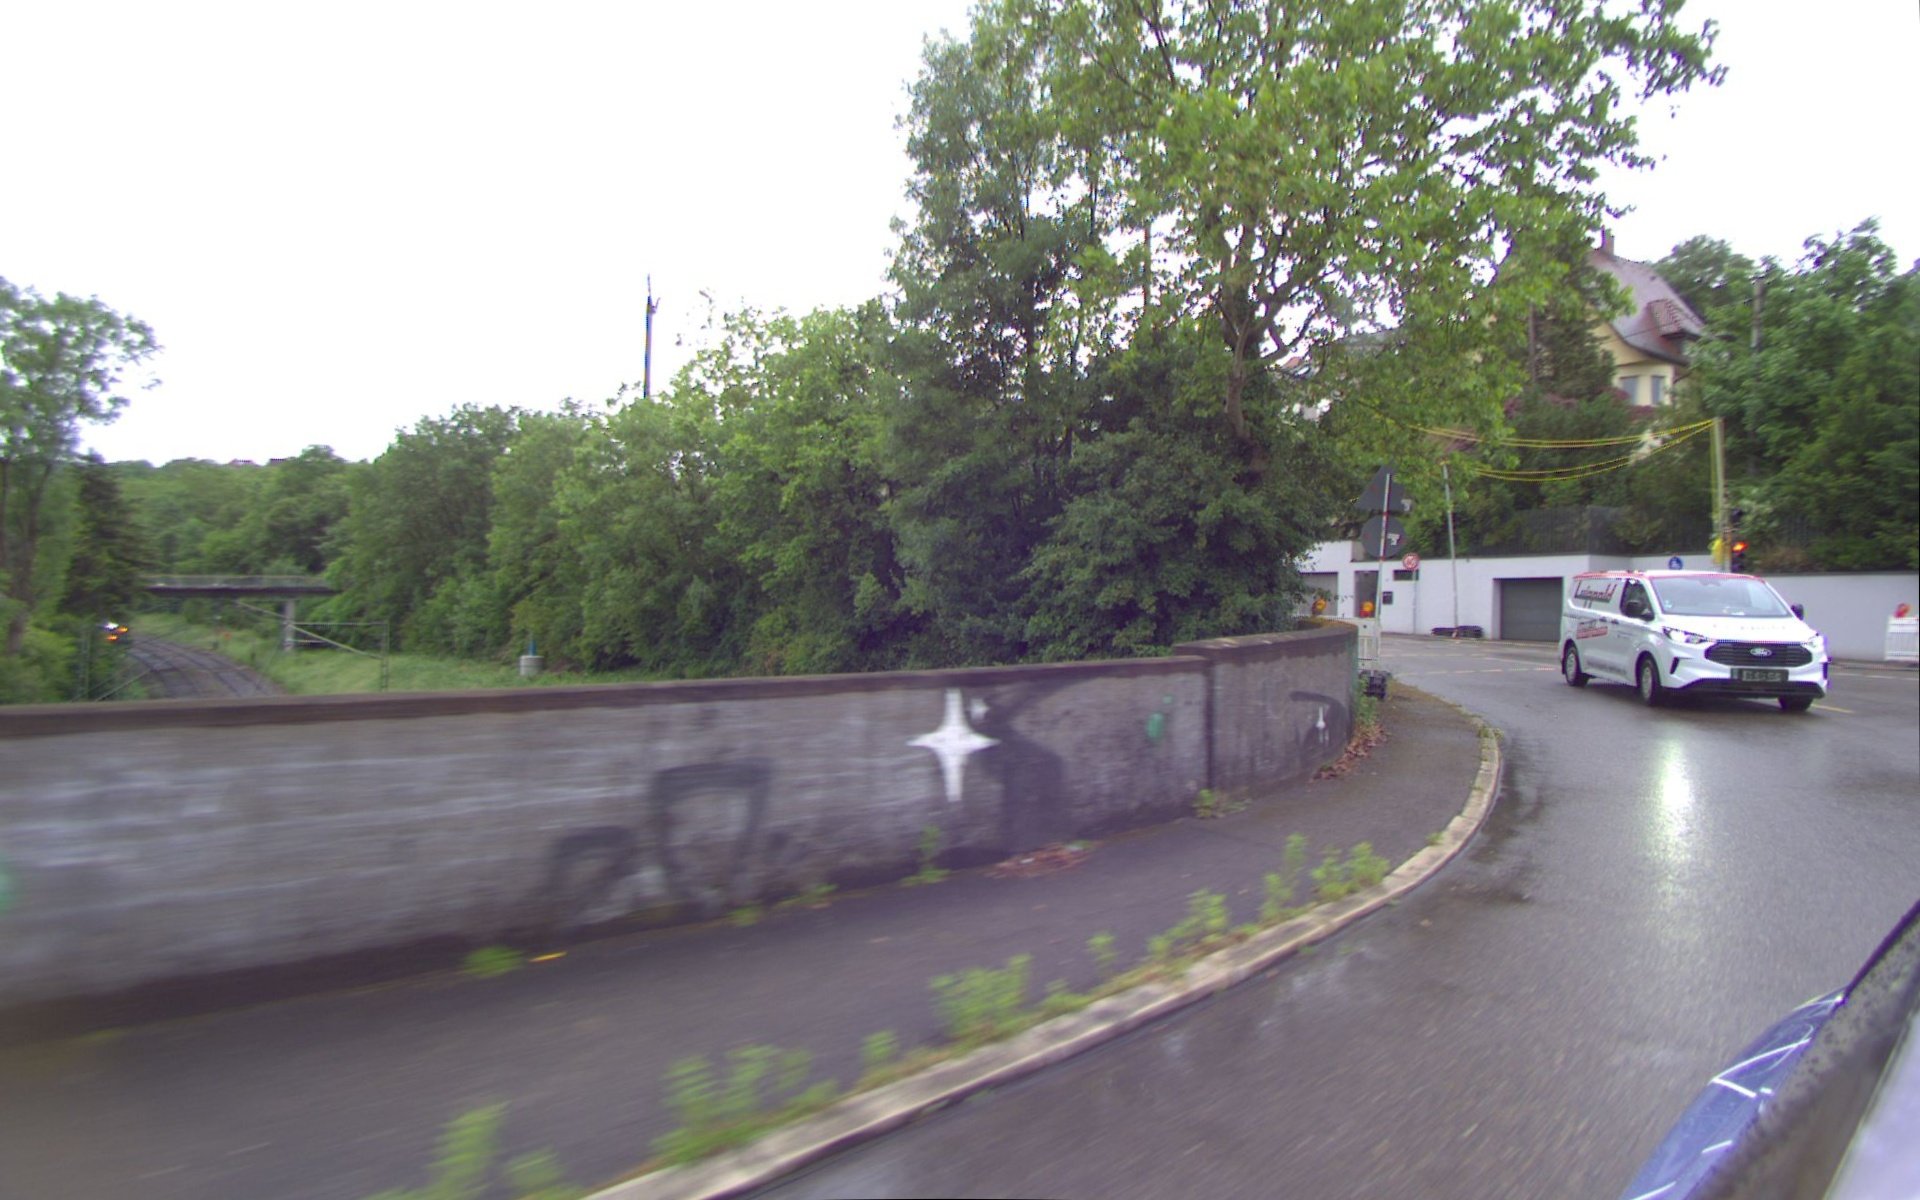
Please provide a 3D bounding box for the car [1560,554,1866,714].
[{"bbox_3d":[11.132,0.394,15.501,1.971,2.039,4.928,-1,1,14],"label":"car"}]
